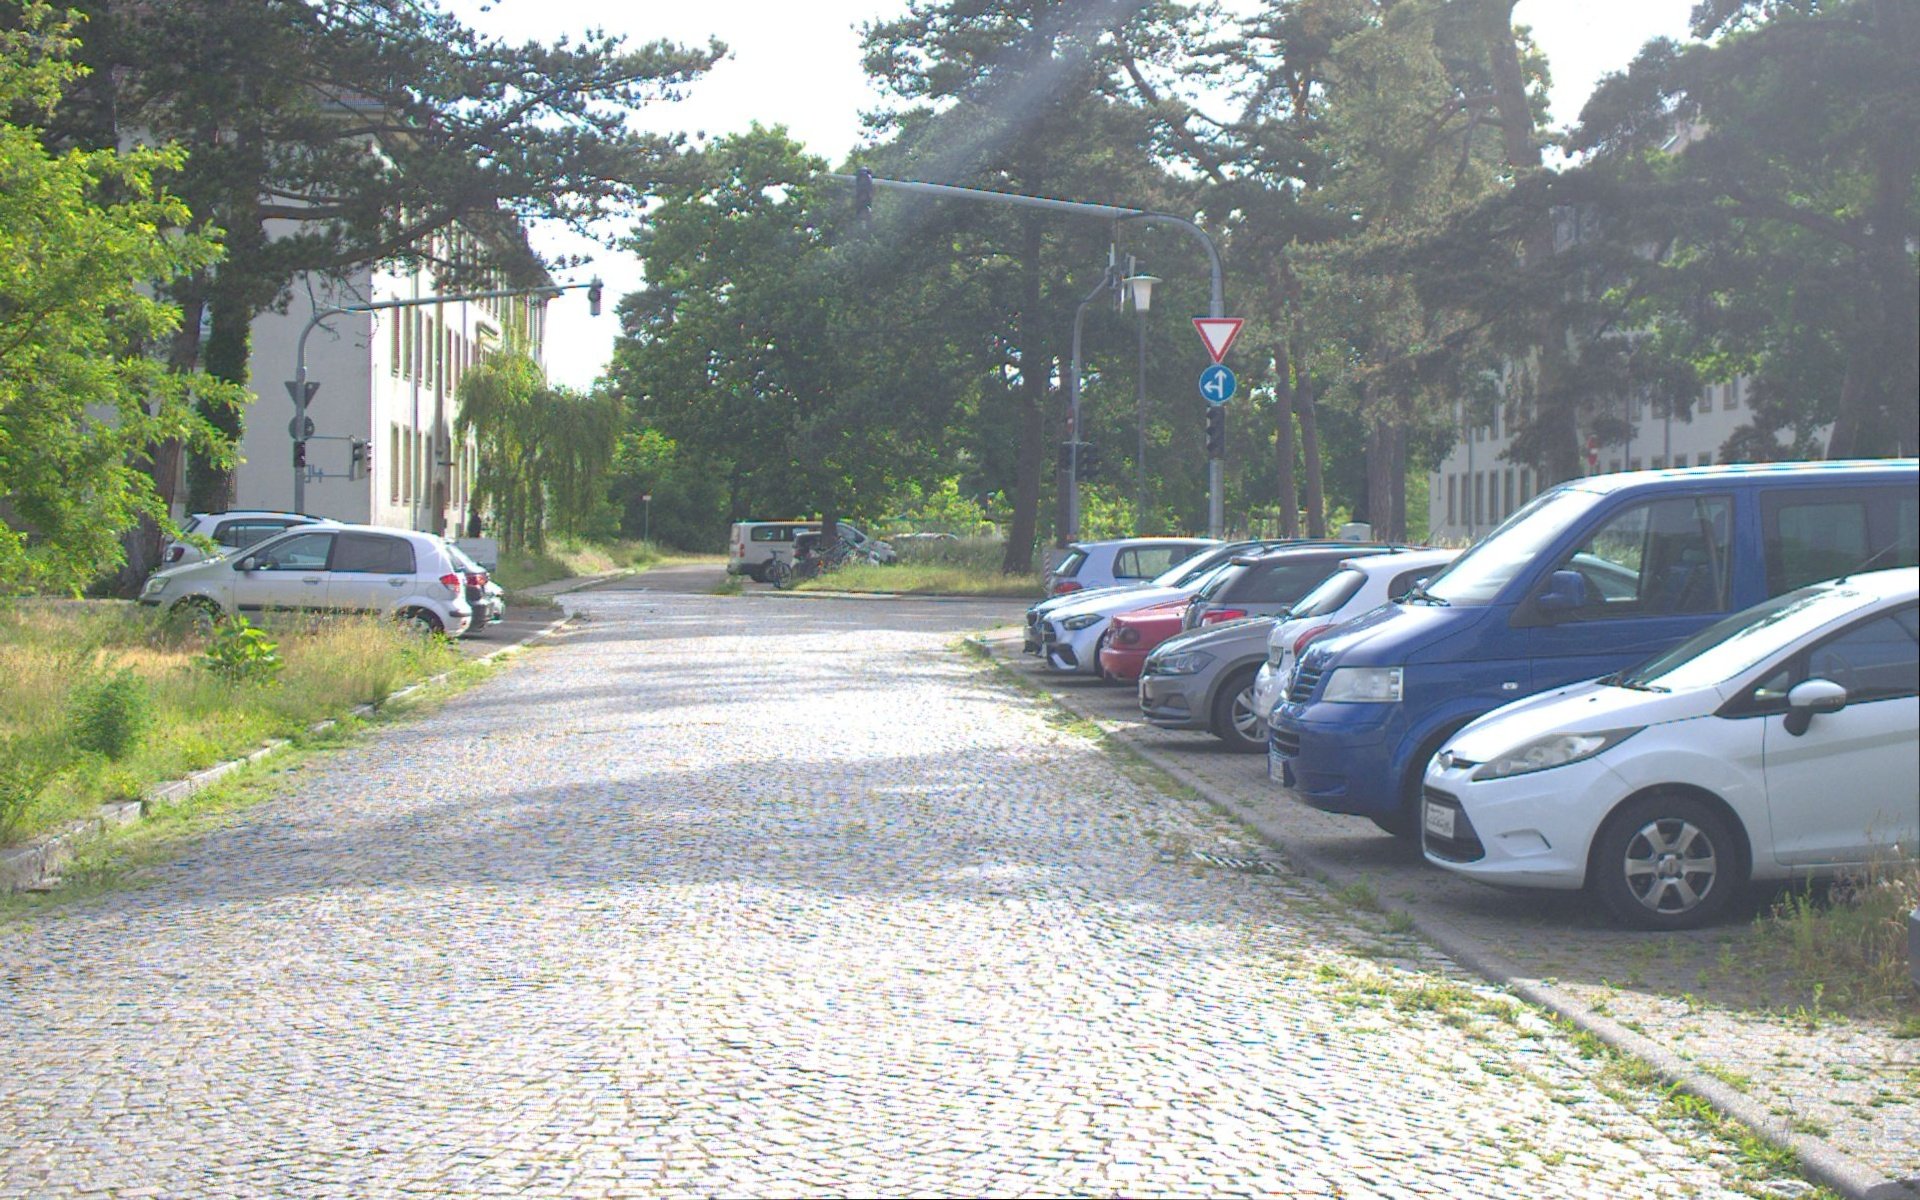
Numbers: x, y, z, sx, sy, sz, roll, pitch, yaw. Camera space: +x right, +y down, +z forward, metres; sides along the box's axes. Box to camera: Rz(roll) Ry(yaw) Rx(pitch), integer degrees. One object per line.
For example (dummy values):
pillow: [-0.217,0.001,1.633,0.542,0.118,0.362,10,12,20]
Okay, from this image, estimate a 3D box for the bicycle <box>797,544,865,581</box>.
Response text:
bicycle: [-3.497,-1.016,93.130,1.792,0.995,0.644,0,2,-4]

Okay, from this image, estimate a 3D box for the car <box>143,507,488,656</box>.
car: [-7.427,-0.222,39.875,3.682,1.468,1.850,3,0,-5]

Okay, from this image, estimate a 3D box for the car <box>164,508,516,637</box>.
car: [-8.552,-0.399,47.721,4.586,1.450,1.904,3,2,-5]

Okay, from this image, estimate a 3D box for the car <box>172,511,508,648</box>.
car: [-7.616,-0.253,42.525,3.828,1.424,1.859,3,0,-4]

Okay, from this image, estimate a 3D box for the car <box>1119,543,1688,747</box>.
car: [3.242,0.314,25.662,3.950,1.462,1.831,0,1,-3]

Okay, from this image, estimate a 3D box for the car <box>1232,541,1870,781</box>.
car: [3.848,0.377,22.831,3.874,1.525,1.808,0,1,-3]

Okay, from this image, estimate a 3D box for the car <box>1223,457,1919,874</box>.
car: [3.845,0.278,17.476,4.732,1.922,1.992,-1,1,-4]

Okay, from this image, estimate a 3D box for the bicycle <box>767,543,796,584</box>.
bicycle: [-4.601,-0.947,88.458,0.728,0.995,1.799,0,2,-3]

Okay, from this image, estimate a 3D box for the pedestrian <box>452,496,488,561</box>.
pedestrian: [-14.811,-2.162,103.901,0.985,1.956,0.933,1,0,-4]

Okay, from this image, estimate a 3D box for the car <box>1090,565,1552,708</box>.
car: [3.227,0.315,31.231,3.950,1.256,1.727,0,1,-3]

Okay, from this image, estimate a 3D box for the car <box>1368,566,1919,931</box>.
car: [4.040,0.586,14.967,4.189,1.465,1.808,0,1,-7]

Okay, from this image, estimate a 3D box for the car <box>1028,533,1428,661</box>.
car: [3.173,-0.050,41.290,4.543,1.500,1.933,0,1,-5]

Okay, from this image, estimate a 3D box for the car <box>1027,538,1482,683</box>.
car: [3.019,0.095,35.873,4.506,1.468,1.850,0,1,-3]

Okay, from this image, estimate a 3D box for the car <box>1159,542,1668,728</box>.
car: [3.717,0.272,28.612,3.950,1.490,1.772,0,1,-3]

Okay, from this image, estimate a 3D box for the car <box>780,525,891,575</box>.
car: [-3.781,-1.523,104.474,3.031,1.460,1.720,1,0,-16]

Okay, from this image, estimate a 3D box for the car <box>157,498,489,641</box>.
car: [-8.316,-0.406,45.186,4.120,1.594,1.859,3,0,-8]

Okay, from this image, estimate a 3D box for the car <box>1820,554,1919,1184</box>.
car: [4.514,0.675,8.626,4.190,1.583,1.878,0,1,-4]

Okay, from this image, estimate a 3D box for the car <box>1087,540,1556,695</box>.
car: [3.485,0.154,33.623,4.340,1.468,1.740,0,1,-3]

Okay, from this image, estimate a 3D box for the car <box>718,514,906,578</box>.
car: [-4.652,-1.699,107.999,5.499,1.909,2.255,1,1,-17]

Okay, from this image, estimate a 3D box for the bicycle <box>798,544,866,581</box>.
bicycle: [-3.436,-1.006,92.111,1.792,0.995,0.644,0,2,-4]

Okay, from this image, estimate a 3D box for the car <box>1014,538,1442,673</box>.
car: [2.971,0.041,38.652,4.505,1.468,1.896,0,1,-7]
